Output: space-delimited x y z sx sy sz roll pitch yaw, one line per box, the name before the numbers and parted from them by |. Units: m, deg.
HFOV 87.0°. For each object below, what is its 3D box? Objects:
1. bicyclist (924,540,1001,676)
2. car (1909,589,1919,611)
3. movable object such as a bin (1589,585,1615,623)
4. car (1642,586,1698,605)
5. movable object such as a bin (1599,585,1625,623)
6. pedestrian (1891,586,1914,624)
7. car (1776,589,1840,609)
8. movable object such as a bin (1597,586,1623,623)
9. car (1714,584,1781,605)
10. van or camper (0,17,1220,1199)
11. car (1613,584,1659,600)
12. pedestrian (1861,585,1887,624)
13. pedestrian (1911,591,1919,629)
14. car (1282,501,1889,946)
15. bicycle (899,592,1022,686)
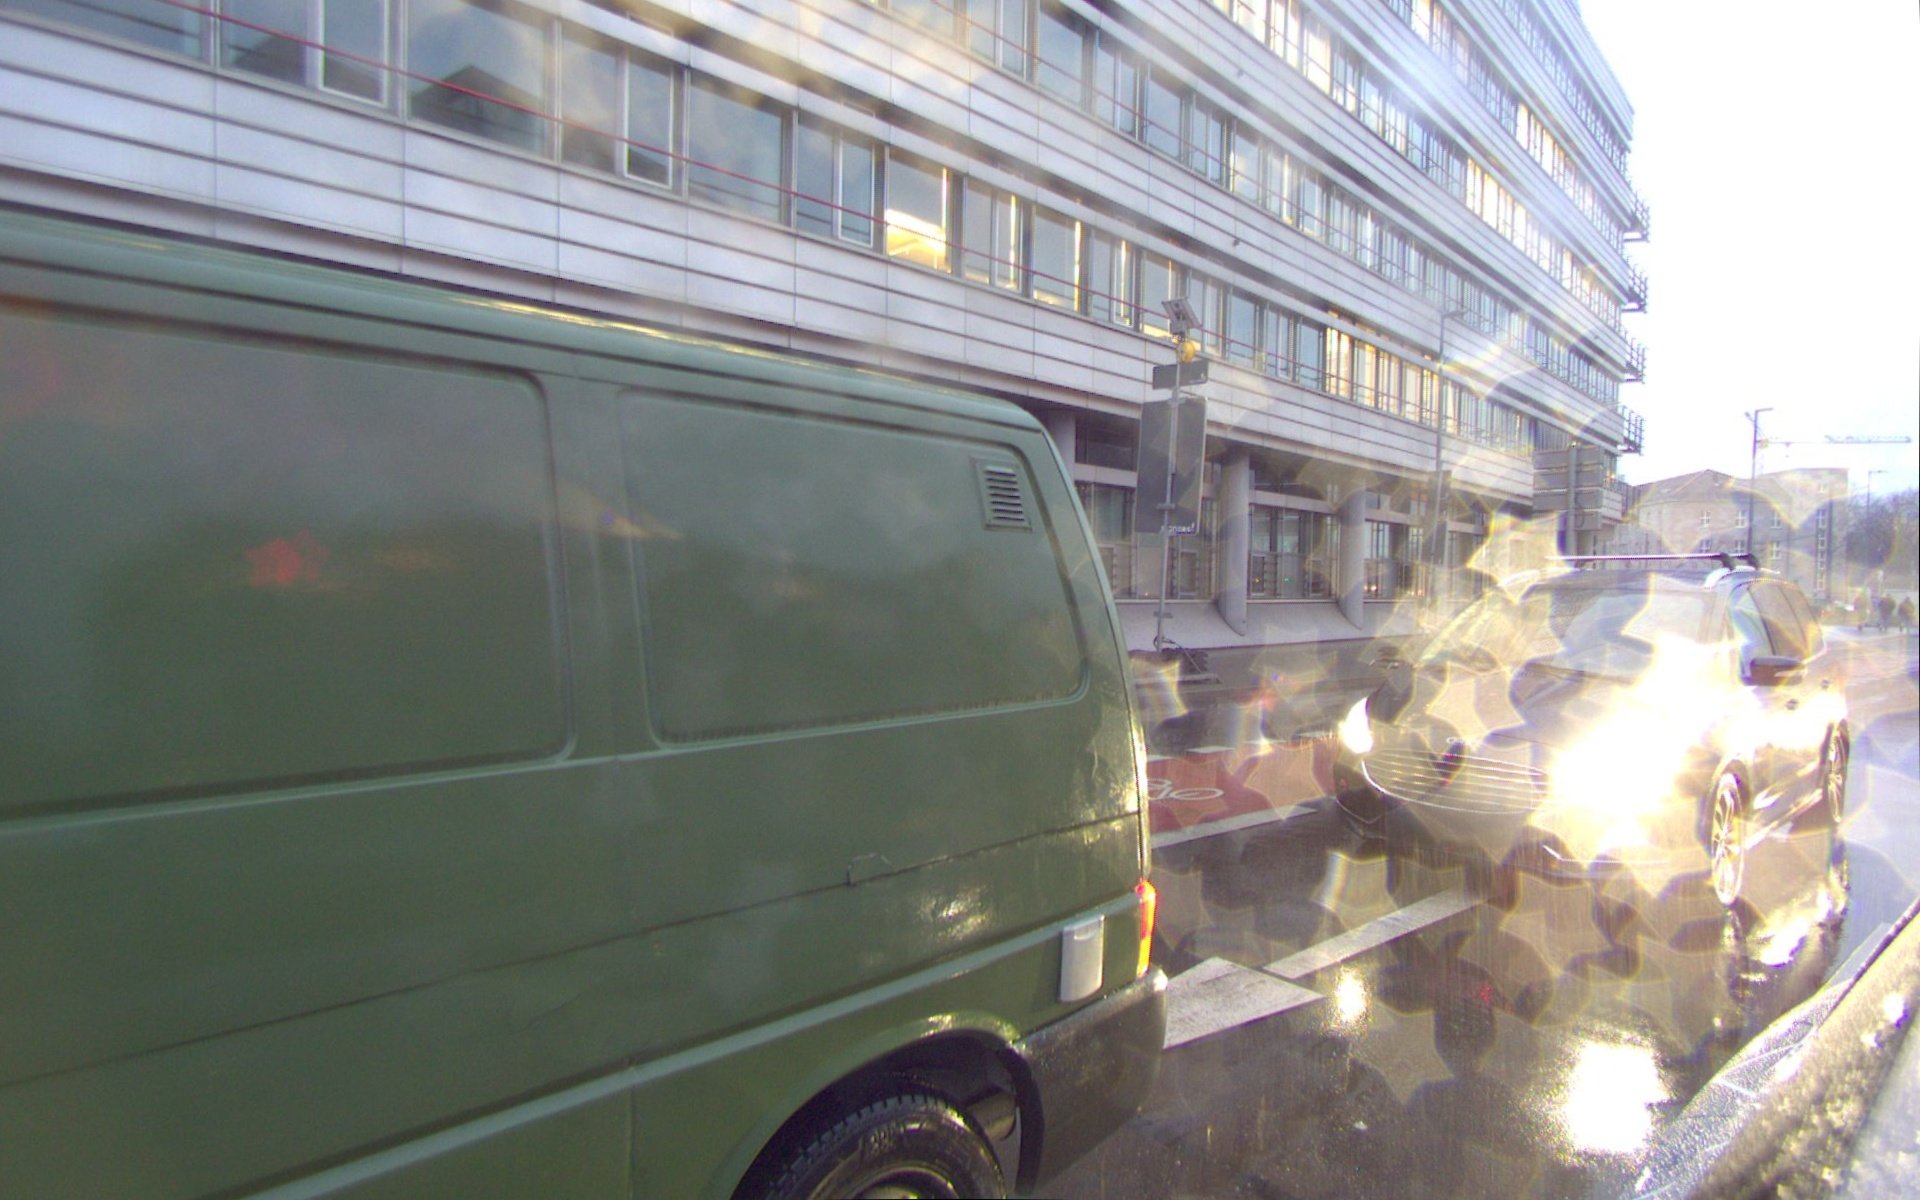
bicyclist | 0.033 0.097 14.055 0.793 1.820 0.670 0 2 -45
car | 76.589 0.069 78.562 1.743 1.730 3.932 0 1 -26
movable object such as a bin | 24.835 0.150 39.136 0.826 1.446 0.665 0 1 -44
car | 68.613 -0.465 97.837 1.958 1.693 4.013 0 1 -24
movable object such as a bin | 26.069 0.163 40.455 0.826 1.495 0.665 0 1 -44
pedestrian | 43.069 0.222 46.262 0.870 1.723 0.650 0 3 -44
car | 72.881 -0.121 87.027 1.743 1.556 3.775 1 2 -24
movable object such as a bin | 25.495 0.165 39.720 0.826 1.446 0.665 0 1 -44
car | 71.069 -0.499 91.399 1.958 1.782 4.386 0 1 -24
van or camper | -1.680 0.456 1.297 4.341 1.931 1.760 0 0 -41
car | 77.315 -0.919 115.828 1.863 1.675 4.038 1 1 -24
pedestrian | 42.867 0.202 47.465 0.953 1.722 0.746 0 4 -44
pedestrian | 43.568 0.451 45.807 0.870 1.689 0.615 0 3 -44
car | 4.153 0.500 6.370 4.587 1.834 1.887 0 0 -39
bicycle | 0.029 0.504 14.101 1.732 1.213 0.680 0 2 -45
